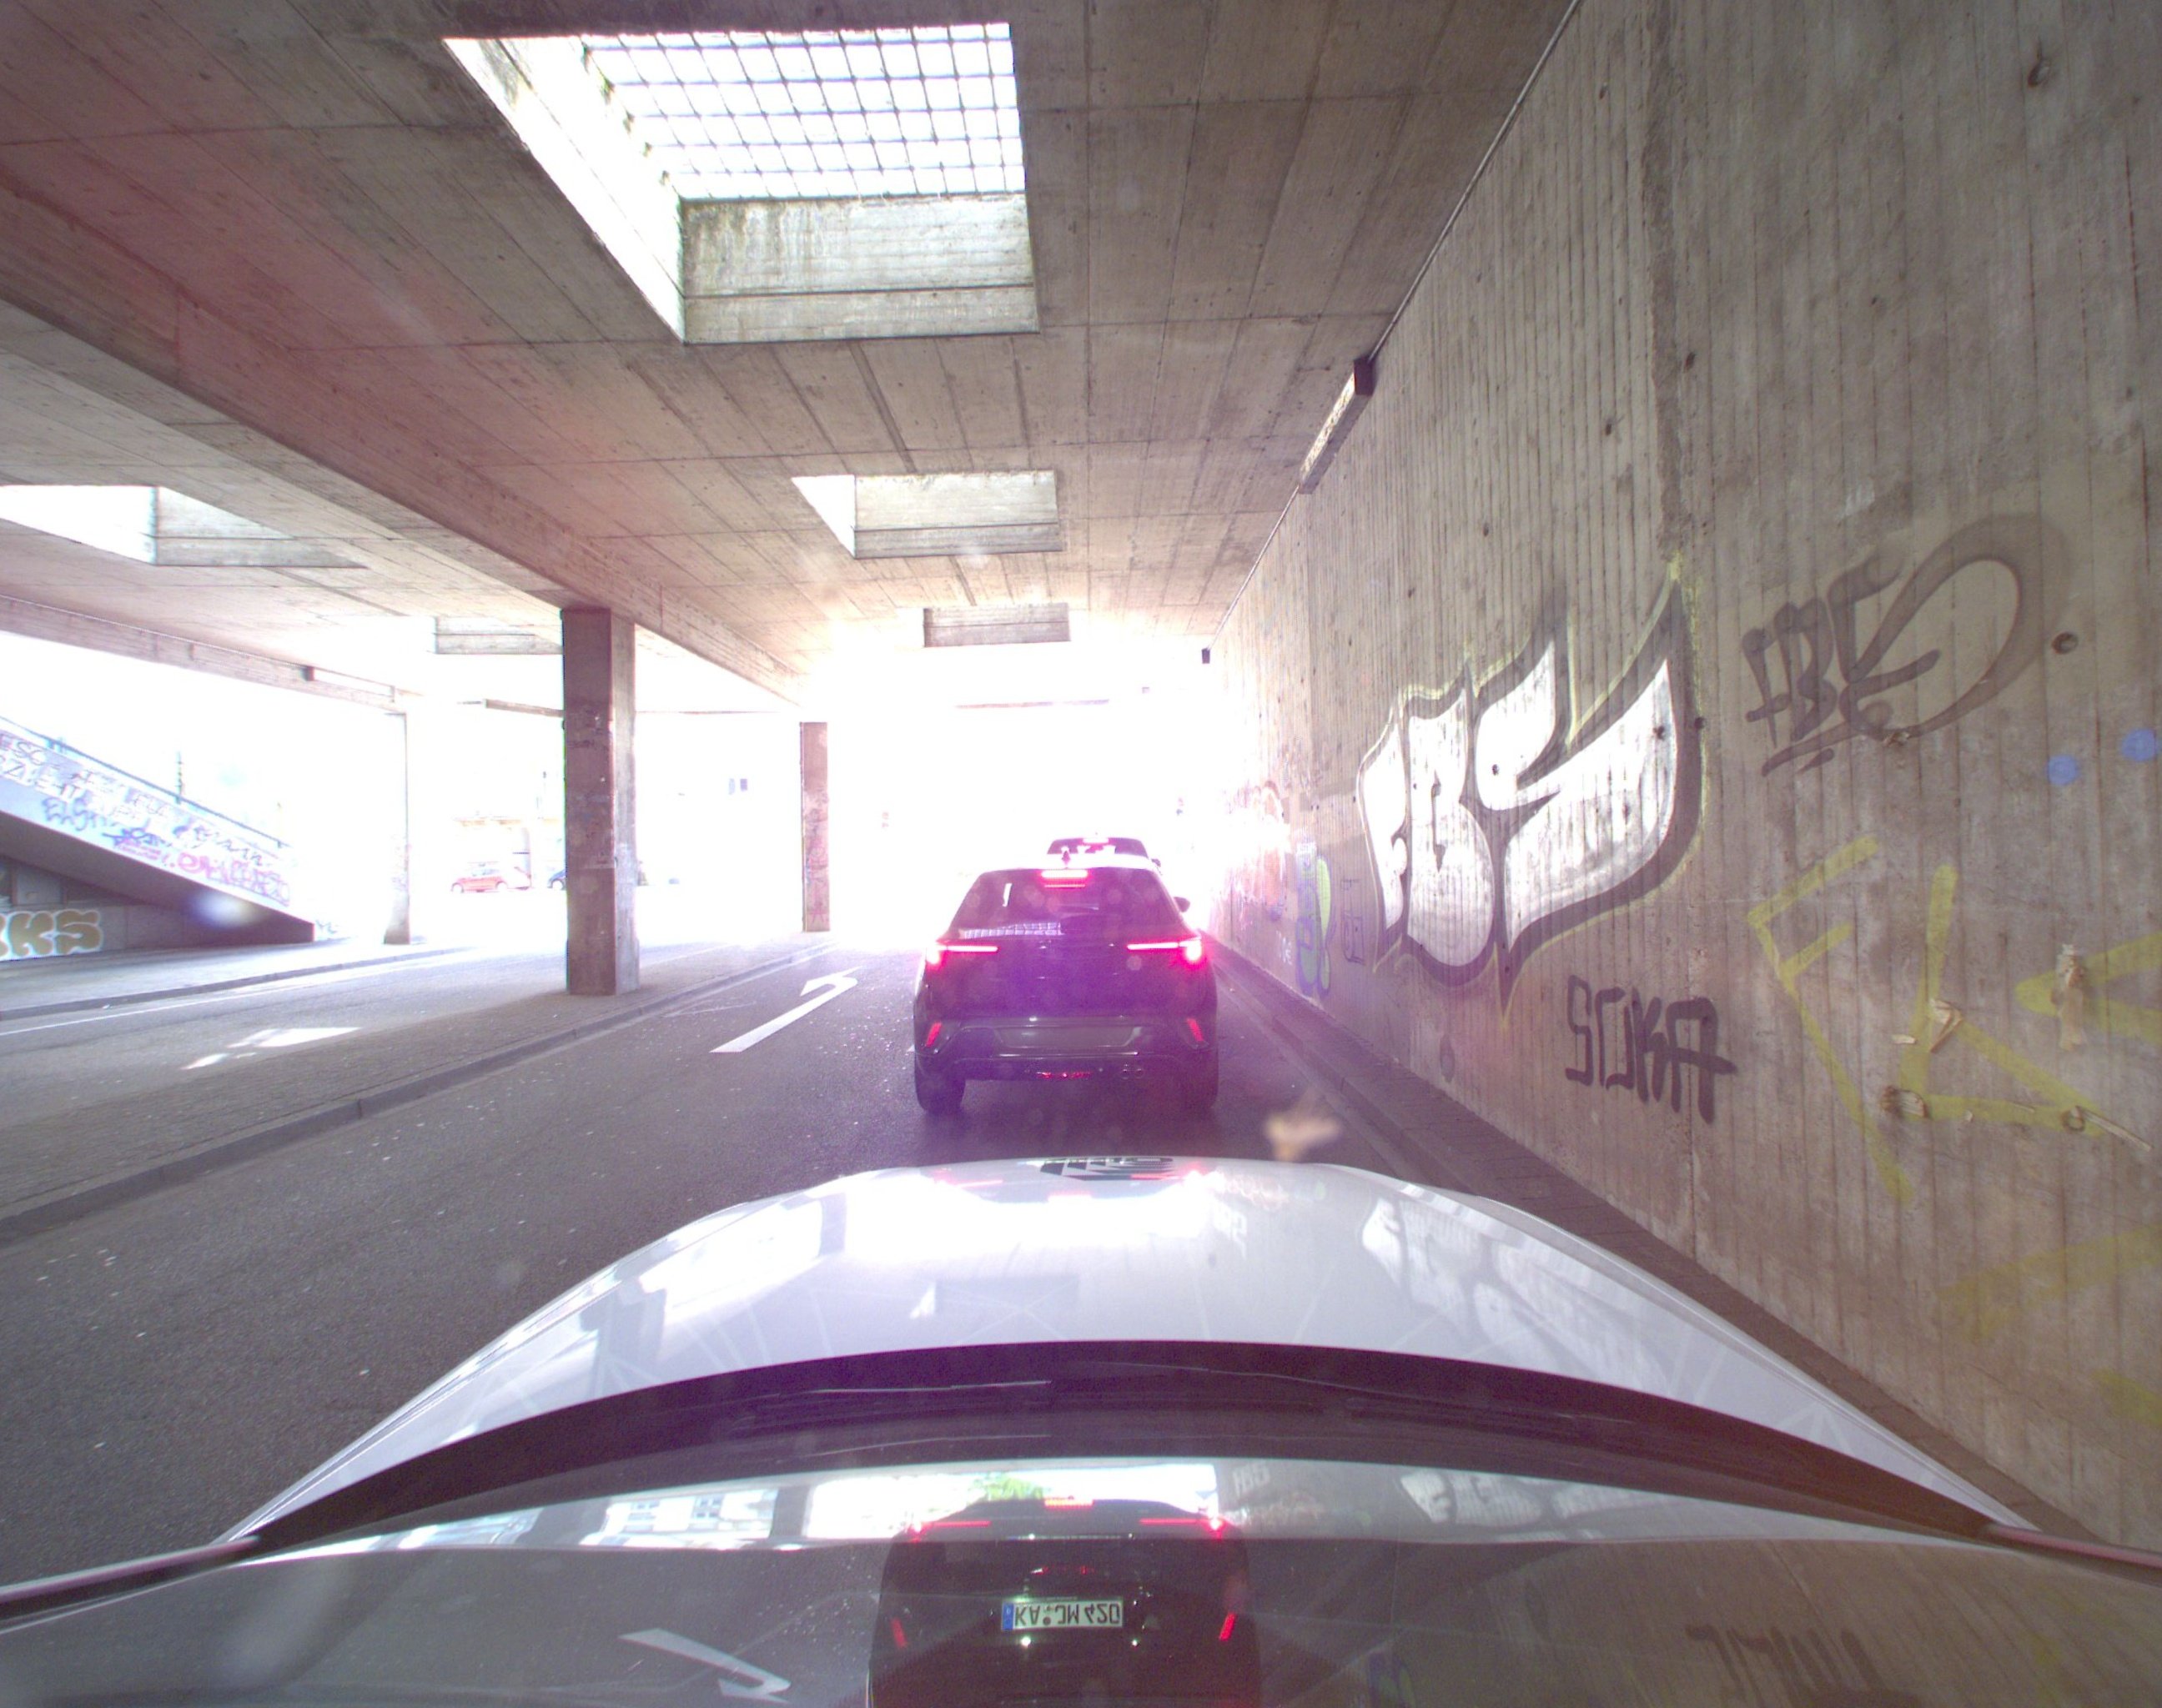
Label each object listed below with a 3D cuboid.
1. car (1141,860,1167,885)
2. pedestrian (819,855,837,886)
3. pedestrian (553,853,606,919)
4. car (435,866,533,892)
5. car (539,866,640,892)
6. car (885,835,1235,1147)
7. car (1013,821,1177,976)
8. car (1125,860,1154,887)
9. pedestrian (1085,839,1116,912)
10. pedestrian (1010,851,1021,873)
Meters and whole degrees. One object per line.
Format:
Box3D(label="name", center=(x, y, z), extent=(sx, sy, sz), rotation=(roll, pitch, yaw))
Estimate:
Box3D(label="car", center=(6.171, 1.533, 68.478), extent=(1.983, 1.970, 4.172), rotation=(0, -1, 7))
Box3D(label="pedestrian", center=(-13.332, 0.851, 42.904), extent=(0.669, 1.637, 0.741), rotation=(0, -1, 1))
Box3D(label="pedestrian", center=(-13.645, 0.847, 22.158), extent=(0.925, 1.762, 0.795), rotation=(0, -1, 3))
Box3D(label="car", center=(-33.081, 1.368, 45.196), extent=(3.975, 1.409, 1.925), rotation=(0, -1, -1))
Box3D(label="car", center=(-27.300, 1.366, 45.327), extent=(4.393, 1.409, 1.925), rotation=(0, -1, -1))
Box3D(label="car", center=(-0.040, 0.658, 6.107), extent=(1.758, 1.571, 4.002), rotation=(0, 1, 2))
Box3D(label="car", center=(0.234, 0.547, 12.077), extent=(1.986, 1.871, 4.002), rotation=(-2, 0, 2))
Box3D(label="car", center=(4.510, 1.458, 62.381), extent=(1.983, 1.970, 4.172), rotation=(0, -1, 7))
Box3D(label="pedestrian", center=(0.481, 0.523, 19.963), extent=(0.728, 1.734, 0.874), rotation=(0, -1, 1))
Box3D(label="pedestrian", center=(-6.332, 0.742, 78.351), extent=(0.887, 2.088, 0.810), rotation=(0, -1, 9))
